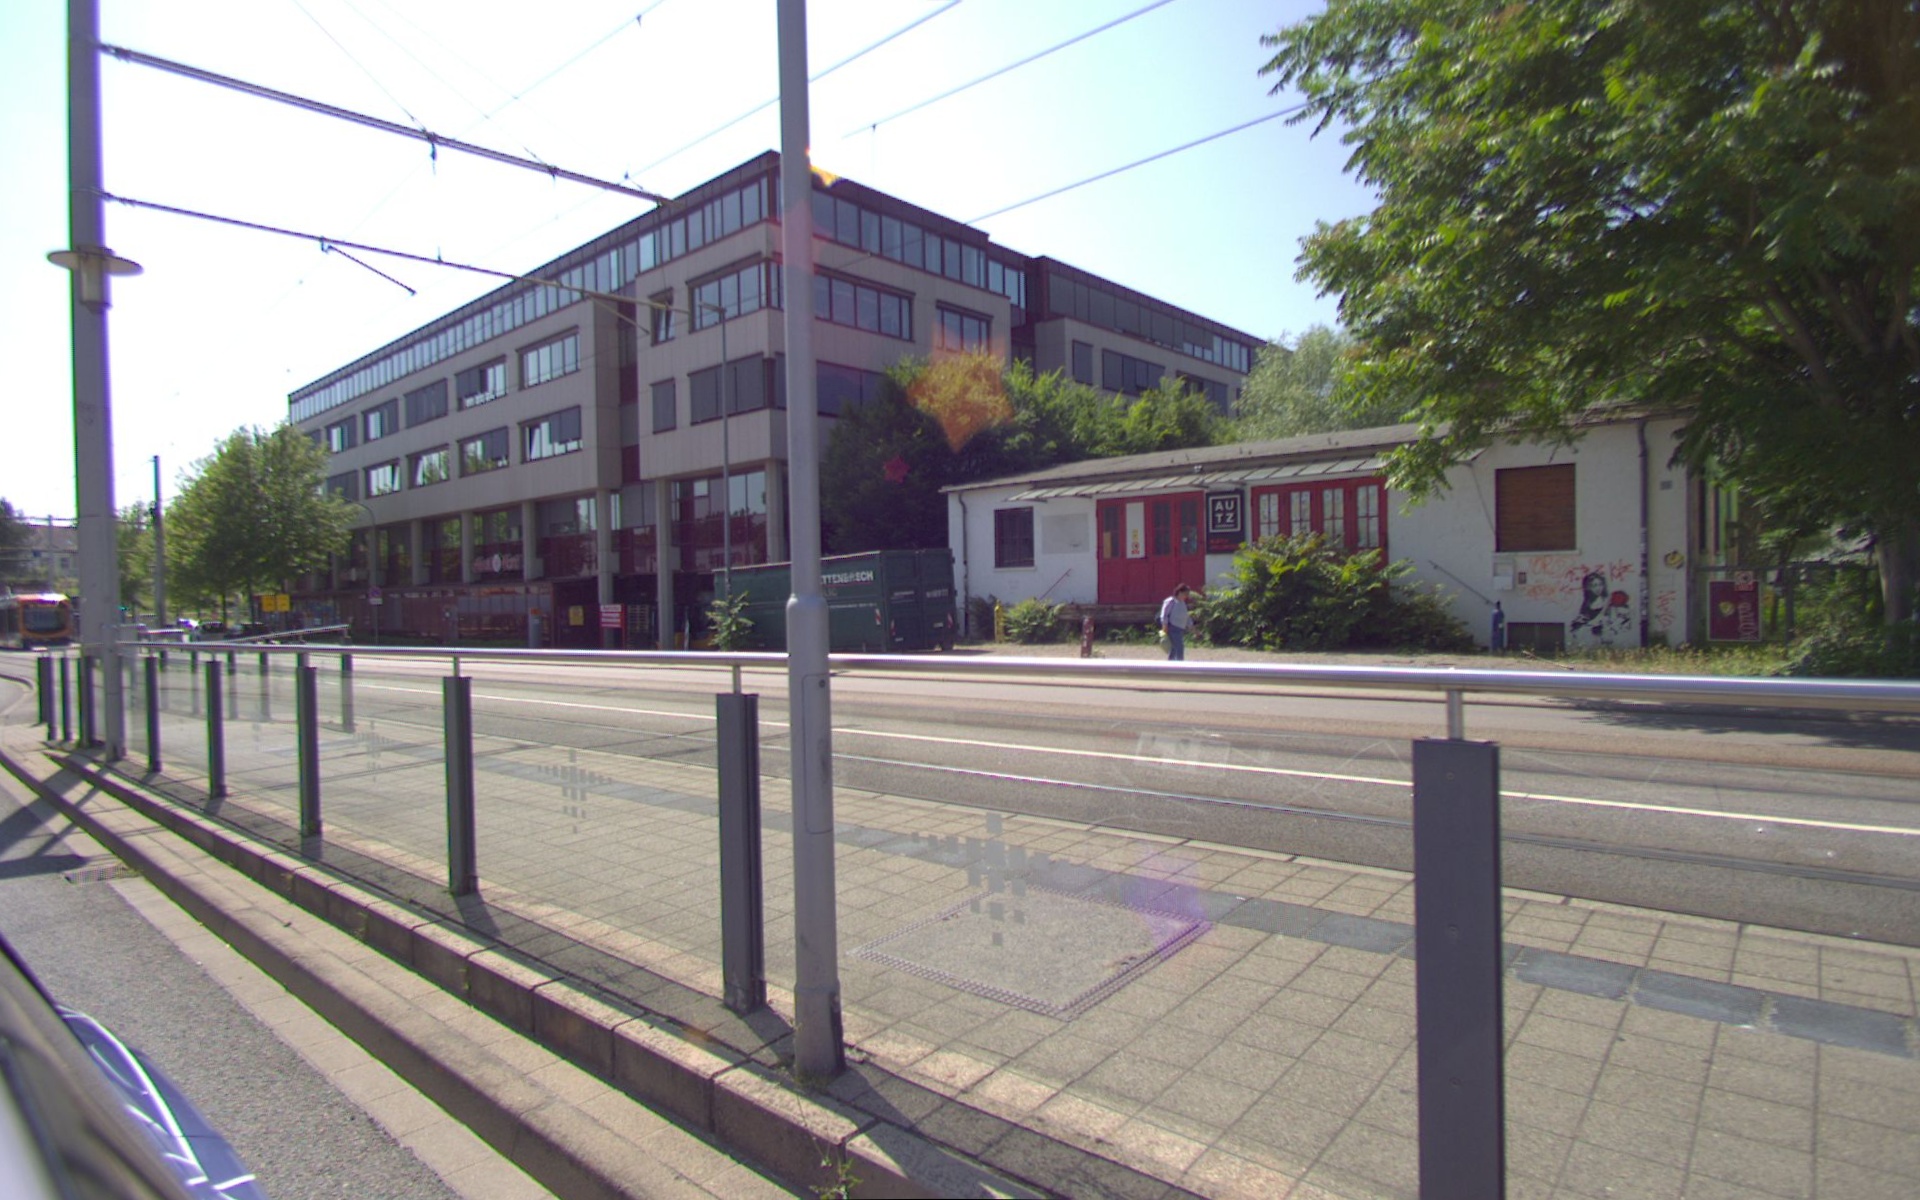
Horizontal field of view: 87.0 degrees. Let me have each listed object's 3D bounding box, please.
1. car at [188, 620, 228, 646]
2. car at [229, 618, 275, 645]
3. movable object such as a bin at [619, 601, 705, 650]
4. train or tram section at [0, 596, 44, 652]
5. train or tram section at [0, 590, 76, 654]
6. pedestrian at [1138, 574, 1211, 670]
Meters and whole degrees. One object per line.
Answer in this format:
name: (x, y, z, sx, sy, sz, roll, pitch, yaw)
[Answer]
car: (-50.698, 2.193, 68.199, 1.844, 1.630, 4.005, -1, -1, -41)
car: (-44.617, 1.979, 63.748, 1.969, 1.635, 4.005, -1, -1, -41)
movable object such as a bin: (-13.028, 1.119, 44.257, 3.157, 2.029, 1.734, -2, 0, 22)
train or tram section: (-65.988, 1.686, 69.790, 13.383, 3.511, 2.646, -2, 0, 41)
train or tram section: (-56.415, 1.349, 61.333, 12.321, 3.511, 2.646, -2, 0, 41)
pedestrian: (3.575, 0.352, 16.835, 0.845, 1.538, 0.862, -2, 0, 40)
